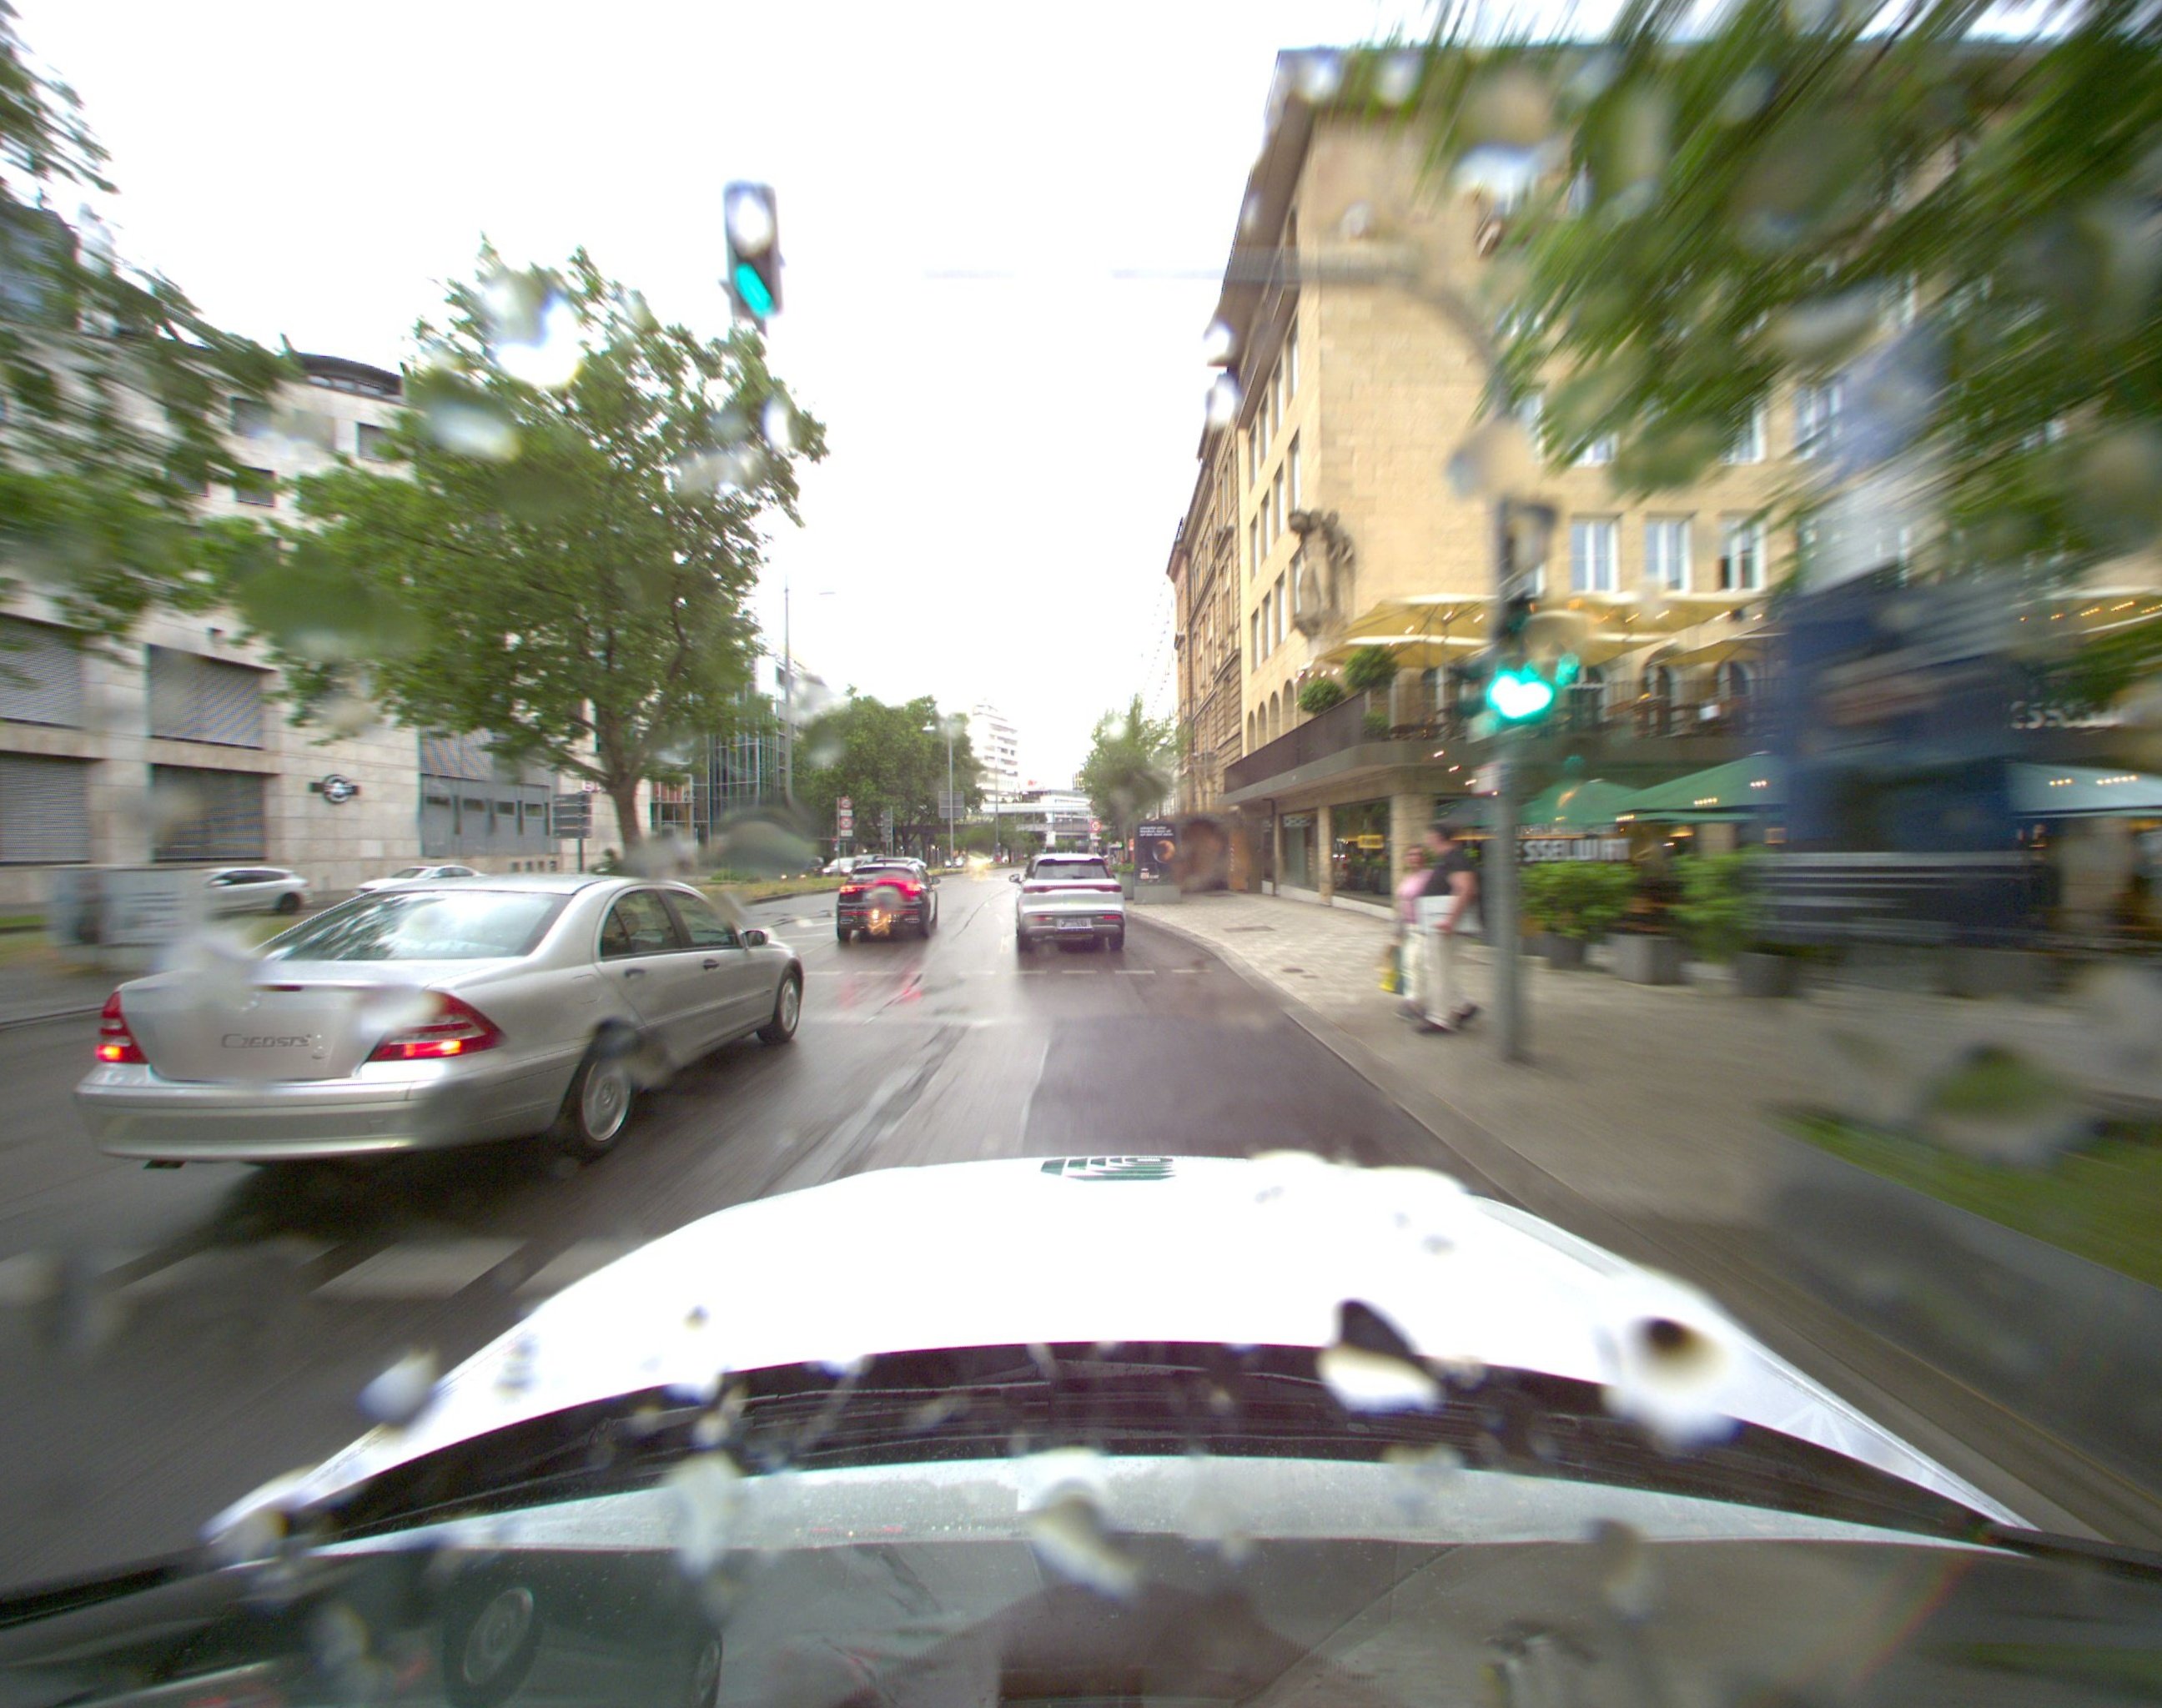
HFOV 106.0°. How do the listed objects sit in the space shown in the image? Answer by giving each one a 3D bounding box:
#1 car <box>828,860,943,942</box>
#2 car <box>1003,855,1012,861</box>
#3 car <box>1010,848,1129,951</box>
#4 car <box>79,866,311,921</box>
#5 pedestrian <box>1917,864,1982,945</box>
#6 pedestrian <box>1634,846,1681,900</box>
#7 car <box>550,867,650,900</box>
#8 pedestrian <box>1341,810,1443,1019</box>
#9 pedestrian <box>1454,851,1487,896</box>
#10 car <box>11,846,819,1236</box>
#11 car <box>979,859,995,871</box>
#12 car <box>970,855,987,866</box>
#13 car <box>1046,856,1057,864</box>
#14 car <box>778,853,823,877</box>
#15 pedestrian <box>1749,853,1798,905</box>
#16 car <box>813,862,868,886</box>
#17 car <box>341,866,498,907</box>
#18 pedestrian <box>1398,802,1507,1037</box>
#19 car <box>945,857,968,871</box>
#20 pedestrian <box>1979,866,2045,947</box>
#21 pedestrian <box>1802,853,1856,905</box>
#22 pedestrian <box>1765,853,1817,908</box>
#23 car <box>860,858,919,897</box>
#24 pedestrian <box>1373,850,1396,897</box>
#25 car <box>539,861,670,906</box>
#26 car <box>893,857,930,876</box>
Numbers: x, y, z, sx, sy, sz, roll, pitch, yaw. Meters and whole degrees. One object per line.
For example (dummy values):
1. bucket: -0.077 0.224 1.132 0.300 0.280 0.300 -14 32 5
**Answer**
1. car: -3.880 0.874 16.796 1.772 1.457 3.991 -1 -1 -6
2. car: -17.894 1.068 198.903 1.590 1.360 4.119 -1 -1 3
3. car: -0.311 0.759 15.096 1.897 1.621 3.994 -1 -1 -4
4. car: -25.160 1.051 23.392 1.739 1.416 4.299 -1 -1 5
5. pedestrian: 14.468 0.824 13.569 0.645 1.322 0.425 0 -1 -3
6. pedestrian: 11.540 0.370 16.313 0.552 1.055 0.545 0 0 3
7. car: -21.533 1.291 36.681 1.738 1.365 4.180 -1 -1 6
8. pedestrian: 2.878 0.530 7.564 0.593 1.835 0.624 0 -1 -26
9. pedestrian: 9.304 0.449 19.451 0.552 1.055 0.545 0 0 3
10. car: -3.233 0.721 5.293 1.667 1.479 4.359 0 0 0
11. car: -14.125 1.643 122.684 1.867 1.680 4.680 -1 -1 0
12. car: -13.541 0.855 107.518 1.590 1.360 4.119 -1 -1 3
13. car: -5.229 1.066 145.878 1.647 1.342 4.002 0 0 2
14. car: -20.112 0.801 58.631 1.825 1.639 4.090 -1 -1 -1
15. pedestrian: 14.421 0.517 16.970 0.552 1.055 0.545 0 0 3
16. car: -14.304 1.155 48.581 1.738 1.365 3.949 -1 -1 6
17. car: -24.531 1.150 30.481 1.739 1.416 4.711 -1 -1 5
18. pedestrian: 3.014 0.515 6.653 0.630 1.835 0.563 -1 -1 4
19. car: -13.622 1.122 89.408 1.694 1.437 4.582 -1 -1 1
20. pedestrian: 15.526 0.864 13.589 0.645 1.322 0.425 0 -1 -3
21. pedestrian: 15.562 0.502 16.959 0.552 1.055 0.652 0 0 3
22. pedestrian: 13.967 0.508 16.026 0.552 1.055 0.545 0 0 3
23. car: -8.330 0.976 35.709 1.807 1.578 3.996 0 0 -3
24. pedestrian: 7.019 0.439 18.840 0.328 1.073 0.479 0 0 -8
25. car: -15.785 0.947 27.265 1.739 1.365 4.135 -1 -1 4
26. car: -13.647 1.016 65.790 1.852 1.442 4.317 -1 -1 4
